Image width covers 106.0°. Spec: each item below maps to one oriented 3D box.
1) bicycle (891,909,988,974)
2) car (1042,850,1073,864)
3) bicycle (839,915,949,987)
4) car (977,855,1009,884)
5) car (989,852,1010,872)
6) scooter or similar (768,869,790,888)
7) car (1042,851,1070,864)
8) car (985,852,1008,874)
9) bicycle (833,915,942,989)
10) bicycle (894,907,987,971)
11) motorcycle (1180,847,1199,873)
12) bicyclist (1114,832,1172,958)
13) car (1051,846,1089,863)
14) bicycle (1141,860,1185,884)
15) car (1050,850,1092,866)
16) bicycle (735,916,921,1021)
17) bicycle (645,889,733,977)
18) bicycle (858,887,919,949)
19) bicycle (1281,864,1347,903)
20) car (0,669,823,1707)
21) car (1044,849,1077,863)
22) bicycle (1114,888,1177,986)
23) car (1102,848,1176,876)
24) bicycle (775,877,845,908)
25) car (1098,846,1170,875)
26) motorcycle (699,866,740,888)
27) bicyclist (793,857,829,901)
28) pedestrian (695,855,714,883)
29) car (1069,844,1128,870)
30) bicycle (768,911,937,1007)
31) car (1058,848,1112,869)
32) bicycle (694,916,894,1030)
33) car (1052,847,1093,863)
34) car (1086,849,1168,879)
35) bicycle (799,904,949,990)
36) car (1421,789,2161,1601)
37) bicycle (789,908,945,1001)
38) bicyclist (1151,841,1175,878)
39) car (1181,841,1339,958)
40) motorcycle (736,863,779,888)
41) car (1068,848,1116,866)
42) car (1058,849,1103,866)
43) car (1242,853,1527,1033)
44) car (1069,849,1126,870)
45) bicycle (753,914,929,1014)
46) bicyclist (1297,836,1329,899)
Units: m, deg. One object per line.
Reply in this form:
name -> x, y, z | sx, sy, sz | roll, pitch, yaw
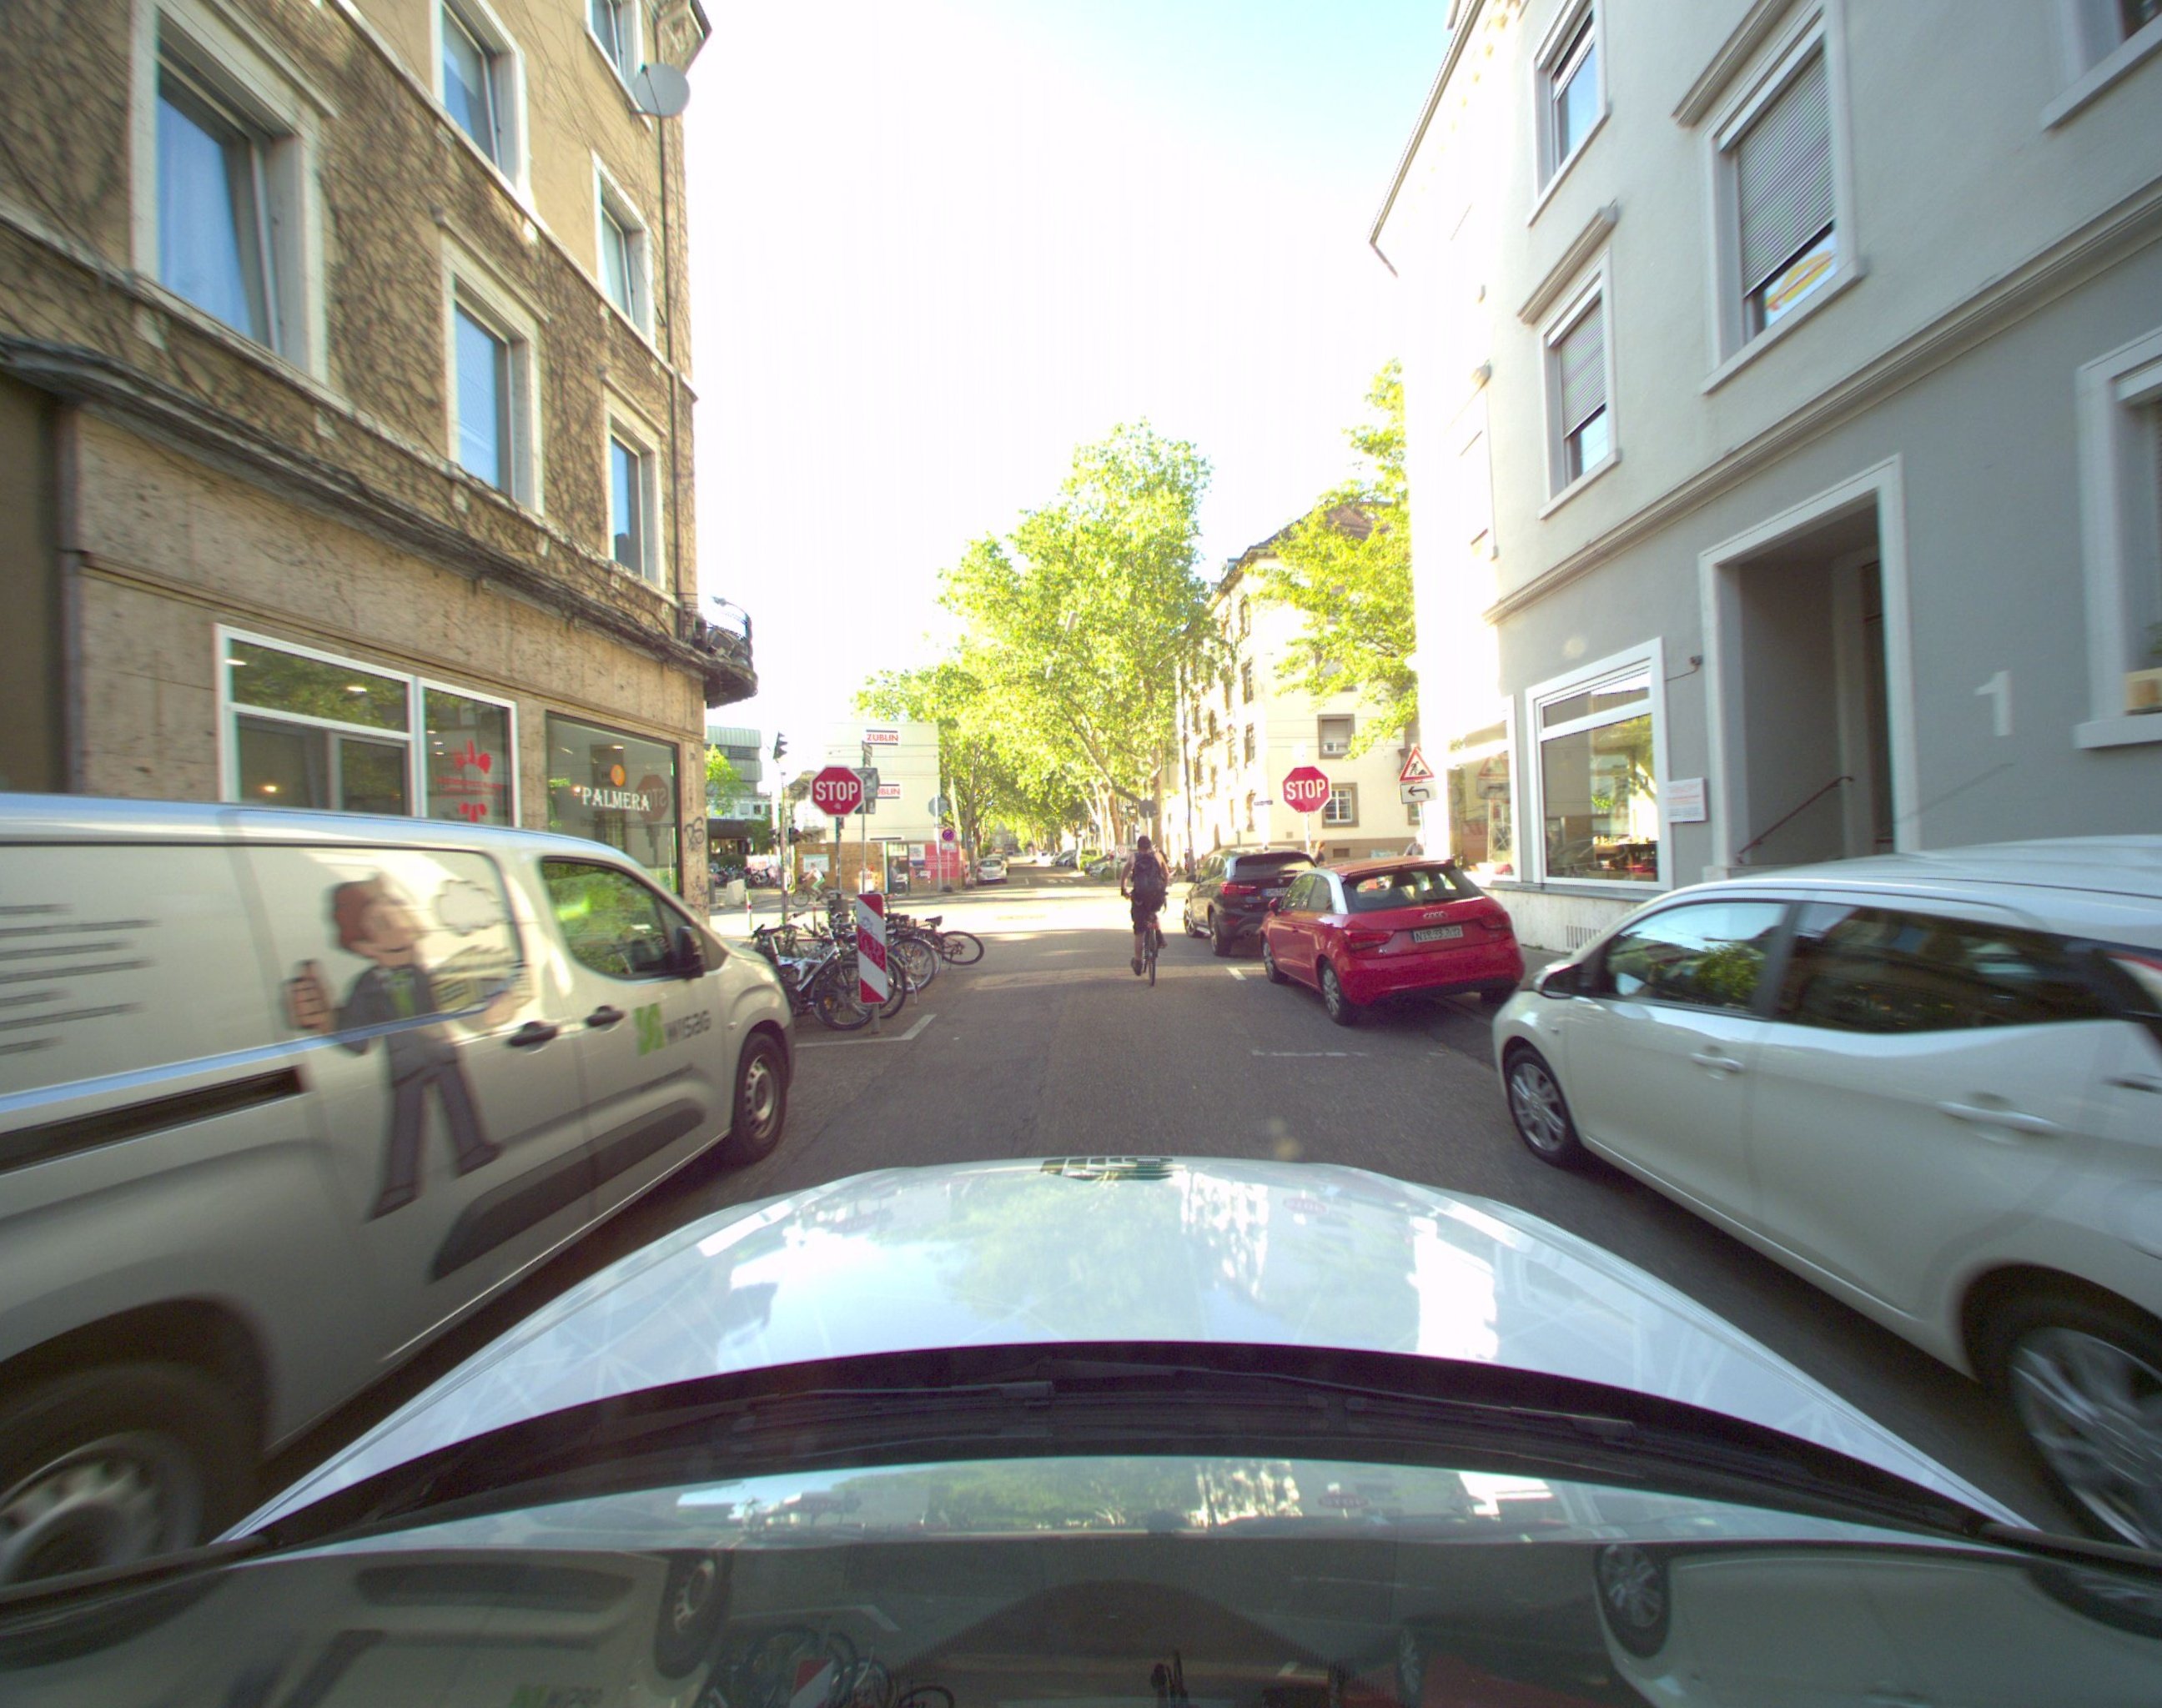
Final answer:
bicycle -> -2.010, 1.239, 11.623 | 1.308, 0.818, 0.354 | -2, 0, -9
car -> -3.558, 0.395, 123.111 | 4.457, 1.898, 1.724 | -2, 0, -7
bicycle -> -2.546, 1.318, 11.171 | 1.386, 0.818, 0.360 | -4, 0, -9
car -> -5.051, 0.841, 46.773 | 1.642, 1.494, 3.990 | -4, 1, -7
car -> -6.936, 0.686, 68.789 | 1.664, 1.562, 4.508 | -2, 0, -7
scooter or similar -> -17.047, 1.379, 46.026 | 0.381, 1.020, 1.493 | -2, 1, 13
car -> -4.216, 0.551, 135.084 | 4.457, 1.898, 1.724 | -2, 0, -7
car -> -6.541, 0.668, 63.104 | 1.664, 1.562, 3.990 | -2, 0, -7
bicycle -> -2.543, 1.286, 10.789 | 1.308, 0.818, 0.380 | -4, 0, -9
bicycle -> -2.058, 1.241, 11.992 | 1.308, 0.818, 0.370 | -2, 0, -9
motorcycle -> 5.760, 0.317, 43.211 | 0.513, 1.332, 1.759 | -2, 0, -7
bicyclist -> 0.761, 0.494, 10.147 | 0.674, 1.513, 0.669 | -1, 0, 1
car -> -1.341, 0.047, 100.248 | 4.457, 1.898, 1.724 | -2, 0, -7
bicycle -> 3.766, 0.817, 37.357 | 1.924, 1.018, 0.677 | -2, 0, -24
car -> -1.122, 0.421, 90.597 | 4.457, 1.571, 1.724 | -2, 0, -7
bicycle -> -2.609, 1.176, 8.464 | 1.759, 0.961, 0.405 | -2, 0, 0
bicycle -> -5.522, 1.079, 11.563 | 0.396, 1.092, 1.592 | -2, -1, 2
bicycle -> -3.809, 1.232, 16.038 | 0.460, 1.045, 1.668 | -2, 2, -39
bicycle -> 6.360, 0.797, 22.264 | 1.619, 1.016, 0.553 | -1, -1, -3
car -> -2.600, 0.700, 2.839 | 1.673, 1.910, 4.521 | -5, 0, 2
car -> -2.954, 0.264, 115.712 | 4.457, 1.898, 1.724 | -2, 0, -7
bicycle -> 0.769, 0.985, 10.189 | 0.687, 1.016, 1.908 | -1, 0, 2
car -> 3.691, 0.474, 52.010 | 4.457, 1.571, 1.724 | -2, 0, -7
bicycle -> -10.627, 1.501, 32.030 | 2.419, 1.093, 0.894 | -2, -1, -6
car -> 3.496, 0.412, 54.085 | 4.457, 1.671, 1.724 | -2, 0, -7
motorcycle -> -22.674, 1.424, 51.090 | 2.224, 1.257, 0.536 | -3, 1, -43
bicyclist -> -10.618, 0.980, 32.056 | 1.095, 1.640, 0.894 | -2, -1, -5
pedestrian -> -27.591, 1.089, 59.728 | 0.796, 2.013, 0.940 | -2, 0, 5
car -> 1.404, 0.220, 64.967 | 4.458, 1.836, 1.724 | -2, 0, -7
bicycle -> -2.591, 1.190, 9.318 | 1.759, 0.961, 0.443 | -2, 0, 0
car -> 0.353, 0.396, 70.835 | 4.457, 1.571, 1.724 | -2, 0, -7
bicycle -> -2.799, 1.155, 8.014 | 1.759, 0.989, 0.463 | -2, 0, 0
car -> -0.958, 0.129, 92.942 | 4.457, 1.571, 1.724 | -2, 0, -7
car -> 2.617, 0.565, 47.058 | 4.457, 1.571, 1.724 | -2, 0, -7
bicycle -> -2.599, 1.164, 10.338 | 1.762, 0.961, 0.427 | -2, 0, -7
car -> 2.921, 0.654, 3.143 | 1.631, 1.587, 3.788 | -1, 0, 0
bicycle -> -2.566, 1.198, 9.904 | 1.765, 0.961, 0.479 | -2, 0, -11
bicyclist -> 3.739, 0.259, 37.352 | 0.813, 1.658, 0.677 | -2, 0, -23
car -> 2.833, 0.648, 13.812 | 1.754, 1.662, 4.197 | -1, 0, 0
motorcycle -> -18.497, 1.215, 46.620 | 2.224, 1.257, 0.536 | -3, 1, -43
car -> 1.077, 0.307, 80.341 | 4.457, 1.571, 1.724 | -2, 0, -7
car -> -0.067, 0.366, 83.438 | 4.457, 1.571, 1.724 | -2, 0, -7
car -> 2.974, 0.751, 8.904 | 1.640, 1.503, 3.954 | -1, 0, 0
car -> 1.326, 0.434, 66.981 | 4.457, 1.571, 1.724 | -2, 0, -7
bicycle -> -2.594, 1.184, 8.881 | 1.759, 0.961, 0.422 | -2, 0, 0
bicyclist -> 6.337, 0.378, 22.272 | 0.649, 1.687, 0.543 | -1, -1, -3
